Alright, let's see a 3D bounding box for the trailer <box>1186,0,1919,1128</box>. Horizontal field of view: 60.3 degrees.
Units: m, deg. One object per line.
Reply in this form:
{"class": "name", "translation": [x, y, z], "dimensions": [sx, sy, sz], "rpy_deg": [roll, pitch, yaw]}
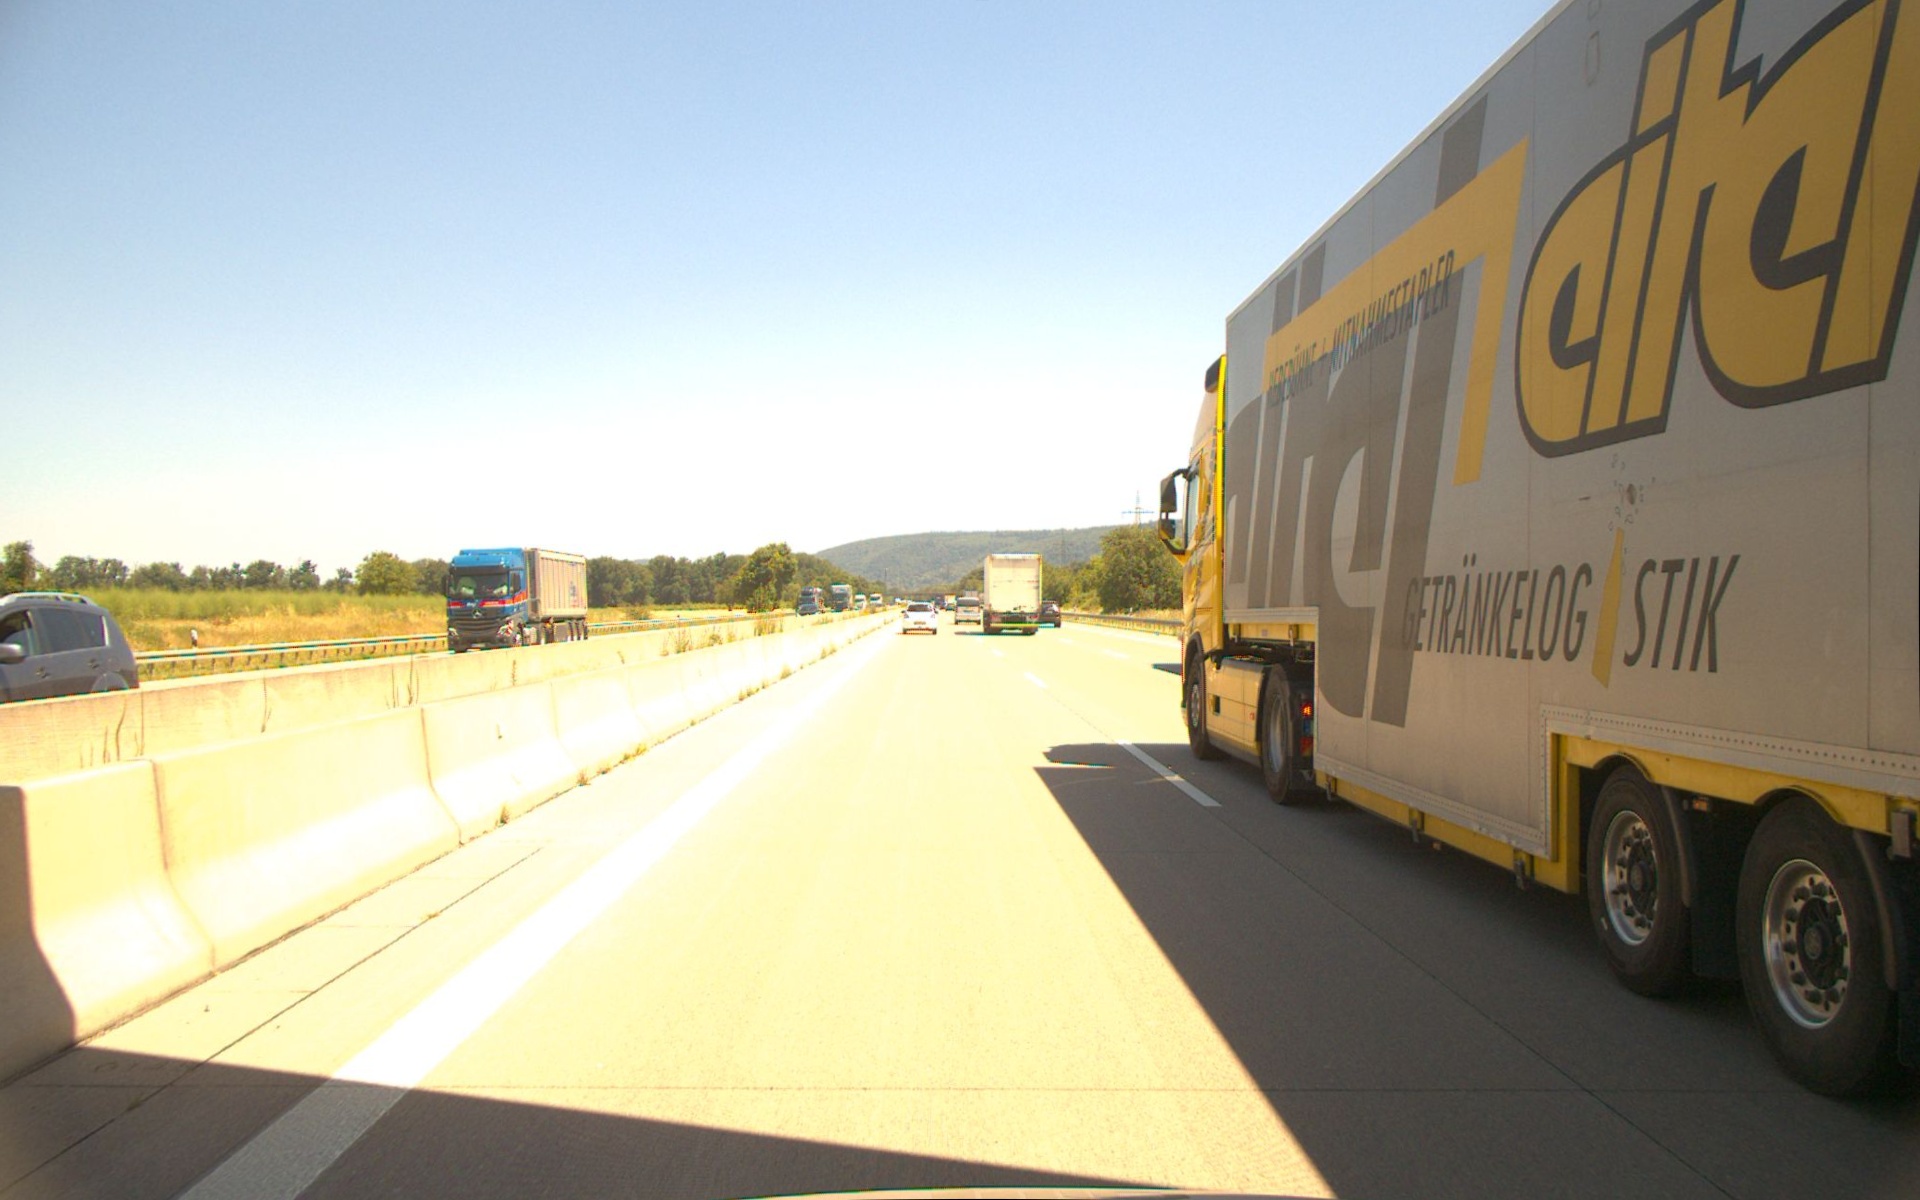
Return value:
{"class": "trailer", "translation": [3.460, -0.720, 8.766], "dimensions": [1.953, 4.329, 15.194], "rpy_deg": [1, 0, -2]}

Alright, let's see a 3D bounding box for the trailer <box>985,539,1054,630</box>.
{"class": "trailer", "translation": [2.704, -0.664, 78.042], "dimensions": [2.529, 3.945, 10.369], "rpy_deg": [1, 0, -2]}

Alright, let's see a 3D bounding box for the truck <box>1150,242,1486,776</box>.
{"class": "truck", "translation": [3.230, -0.737, 16.102], "dimensions": [1.953, 4.329, 5.192], "rpy_deg": [1, 0, -2]}

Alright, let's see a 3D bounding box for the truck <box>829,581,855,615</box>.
{"class": "truck", "translation": [-16.696, -0.264, 233.890], "dimensions": [3.201, 4.554, 7.187], "rpy_deg": [-1, 0, -1]}

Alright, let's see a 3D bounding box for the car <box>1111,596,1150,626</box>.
{"class": "car", "translation": [11.188, 0.730, 108.886], "dimensions": [1.953, 1.881, 3.999], "rpy_deg": [3, 0, -2]}

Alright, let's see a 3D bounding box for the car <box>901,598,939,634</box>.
{"class": "car", "translation": [-1.968, 0.777, 80.601], "dimensions": [1.783, 1.691, 3.998], "rpy_deg": [0, 0, -2]}

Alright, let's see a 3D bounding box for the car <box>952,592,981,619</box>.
{"class": "car", "translation": [0.439, 0.384, 118.640], "dimensions": [1.953, 1.881, 3.999], "rpy_deg": [1, 0, -2]}

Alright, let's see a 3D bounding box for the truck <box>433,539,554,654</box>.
{"class": "truck", "translation": [-17.917, -0.125, 63.967], "dimensions": [2.921, 4.162, 6.463], "rpy_deg": [-1, 0, -1]}

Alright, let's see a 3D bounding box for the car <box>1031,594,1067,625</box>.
{"class": "car", "translation": [5.864, 0.627, 109.627], "dimensions": [1.953, 1.881, 3.999], "rpy_deg": [3, 0, -2]}

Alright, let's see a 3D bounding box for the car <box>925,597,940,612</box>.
{"class": "car", "translation": [-3.804, 0.617, 228.032], "dimensions": [1.953, 1.881, 3.999], "rpy_deg": [3, 0, -2]}

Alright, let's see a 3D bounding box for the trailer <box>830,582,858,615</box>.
{"class": "trailer", "translation": [-16.865, -0.213, 241.094], "dimensions": [3.201, 4.554, 14.447], "rpy_deg": [-1, 0, -1]}

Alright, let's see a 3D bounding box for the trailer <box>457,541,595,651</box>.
{"class": "trailer", "translation": [-18.019, -0.148, 69.589], "dimensions": [2.921, 4.162, 11.602], "rpy_deg": [-1, 0, -1]}

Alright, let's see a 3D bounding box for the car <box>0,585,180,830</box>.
{"class": "car", "translation": [-9.164, 0.884, 14.229], "dimensions": [2.259, 2.049, 5.654], "rpy_deg": [1, 0, -1]}

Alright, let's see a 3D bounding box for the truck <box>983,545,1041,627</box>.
{"class": "truck", "translation": [2.571, -0.666, 83.339], "dimensions": [2.529, 3.945, 4.982], "rpy_deg": [1, 0, -2]}

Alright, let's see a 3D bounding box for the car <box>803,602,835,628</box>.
{"class": "car", "translation": [-10.479, 1.102, 123.025], "dimensions": [1.953, 1.895, 5.465], "rpy_deg": [1, 0, -1]}
